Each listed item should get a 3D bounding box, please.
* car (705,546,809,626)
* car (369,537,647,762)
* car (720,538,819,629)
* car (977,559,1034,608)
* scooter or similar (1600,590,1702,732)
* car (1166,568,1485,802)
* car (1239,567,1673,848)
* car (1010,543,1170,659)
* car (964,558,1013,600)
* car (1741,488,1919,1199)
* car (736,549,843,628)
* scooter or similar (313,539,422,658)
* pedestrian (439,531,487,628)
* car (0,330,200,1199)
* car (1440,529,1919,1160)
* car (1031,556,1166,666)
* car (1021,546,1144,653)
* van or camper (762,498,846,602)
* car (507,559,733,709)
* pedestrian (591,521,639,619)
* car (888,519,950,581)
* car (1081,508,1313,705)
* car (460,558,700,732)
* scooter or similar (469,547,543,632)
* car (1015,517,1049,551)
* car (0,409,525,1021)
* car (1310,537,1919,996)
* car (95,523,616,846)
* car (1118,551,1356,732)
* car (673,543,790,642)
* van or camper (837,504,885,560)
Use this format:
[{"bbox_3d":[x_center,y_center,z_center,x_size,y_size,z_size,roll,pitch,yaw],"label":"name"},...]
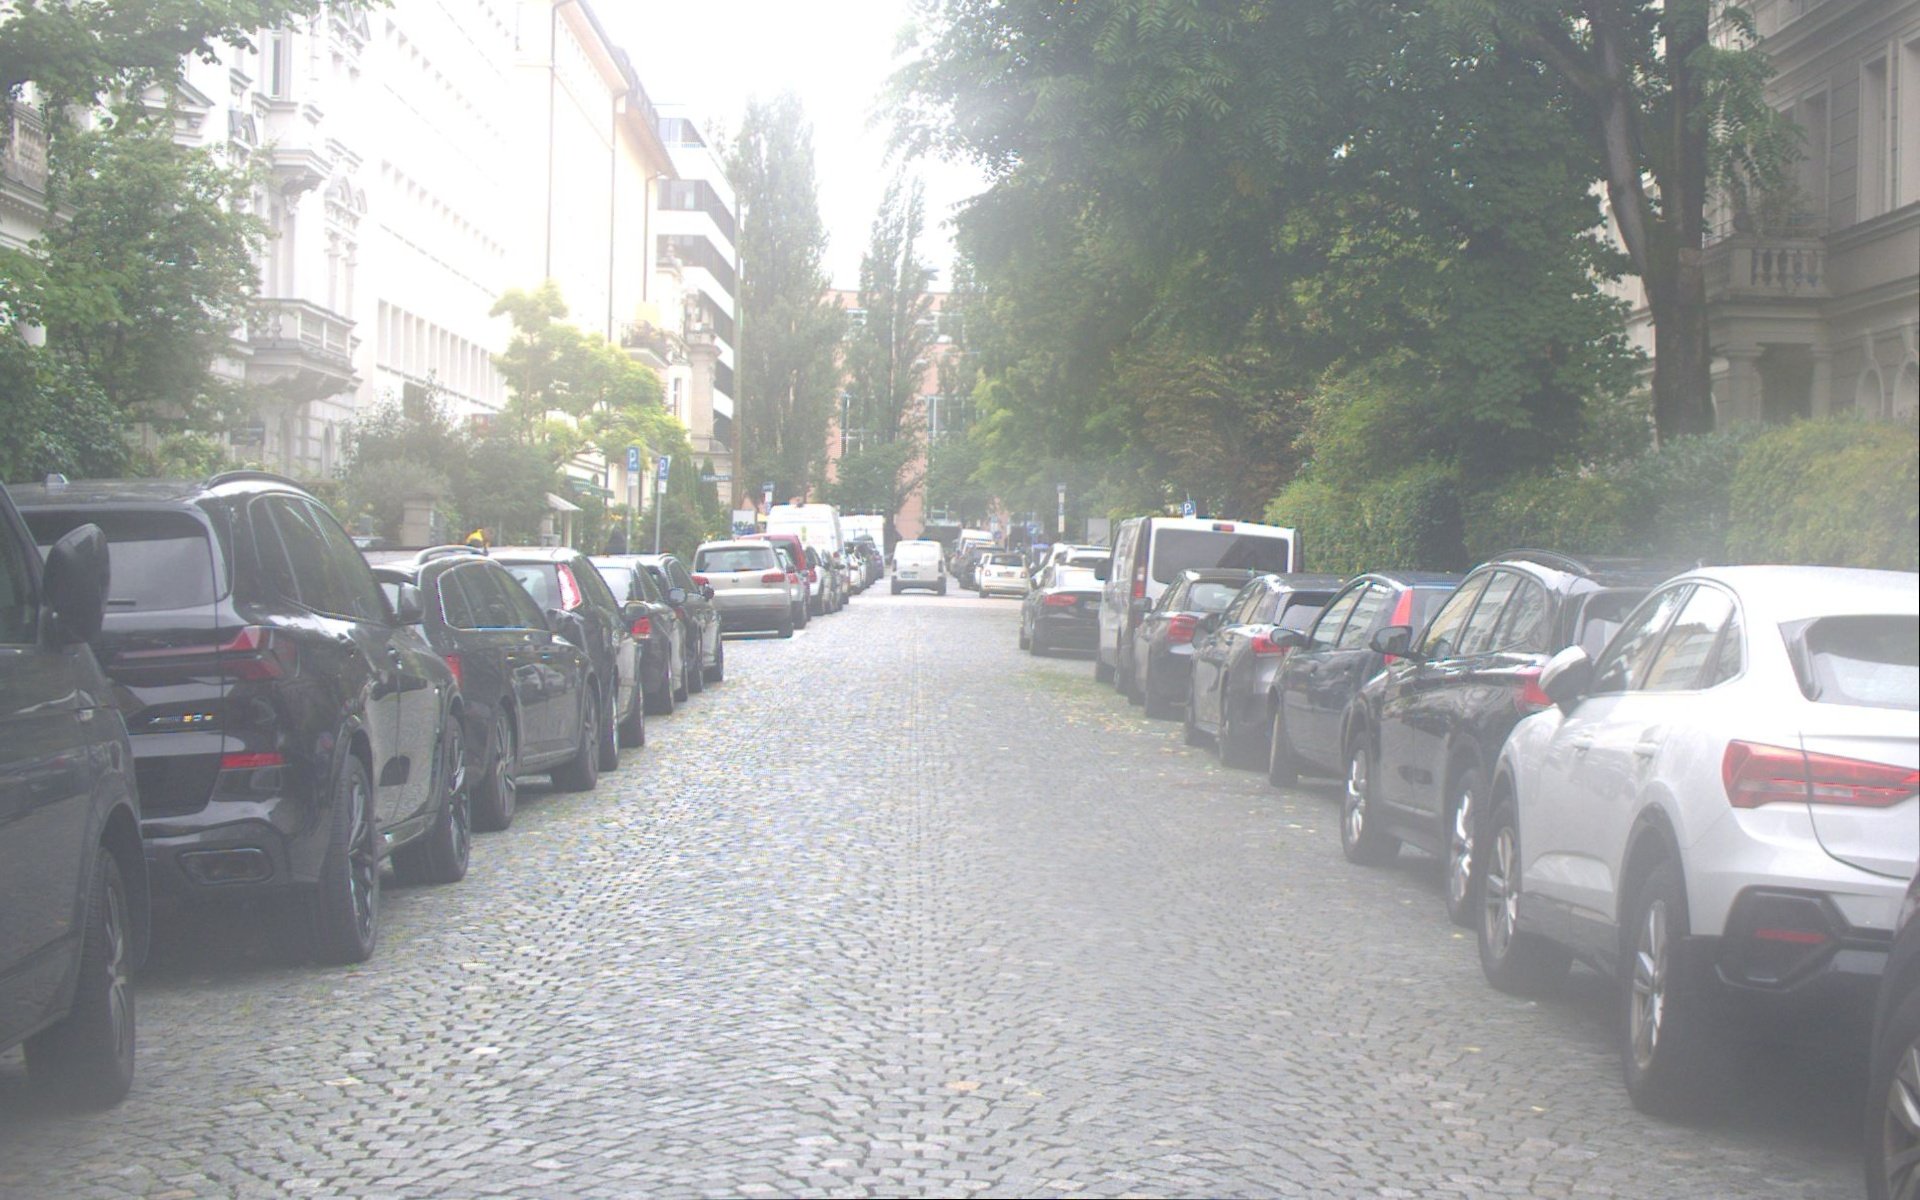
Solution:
[{"bbox_3d":[-3.775,-0.286,64.369,1.873,1.446,4.208,0,1,-3],"label":"car"},{"bbox_3d":[-3.093,0.295,24.184,1.662,1.439,4.172,0,1,-4],"label":"car"},{"bbox_3d":[-3.886,-0.358,70.676,1.873,1.770,4.123,-2,1,-2],"label":"car"},{"bbox_3d":[1.467,-0.545,112.161,1.790,1.515,4.000,2,1,0],"label":"car"},{"bbox_3d":[6.241,0.541,31.092,0.414,1.230,1.246,-2,1,-12],"label":"scooter or similar"},{"bbox_3d":[2.642,0.566,25.754,1.713,1.467,4.269,4,1,-2],"label":"car"},{"bbox_3d":[2.959,0.587,21.367,1.693,1.435,4.062,4,1,-5],"label":"car"},{"bbox_3d":[1.865,-0.023,50.559,1.873,1.498,4.512,4,1,-3],"label":"car"},{"bbox_3d":[1.082,-0.818,132.722,1.790,1.515,4.000,2,1,0],"label":"car"},{"bbox_3d":[2.929,0.733,5.643,1.873,1.729,4.748,5,1,-3],"label":"car"},{"bbox_3d":[-3.745,-0.263,76.084,1.873,1.574,4.207,4,1,3],"label":"car"},{"bbox_3d":[-7.554,-0.038,43.934,0.941,1.437,2.657,3,1,-2],"label":"scooter or similar"},{"bbox_3d":[-8.839,-0.366,61.161,0.717,1.682,0.695,2,0,-1],"label":"pedestrian"},{"bbox_3d":[-3.039,0.372,7.297,1.873,1.910,4.828,-1,1,-1],"label":"car"},{"bbox_3d":[2.738,0.589,10.589,1.873,1.485,4.617,4,1,1],"label":"car"},{"bbox_3d":[2.206,0.149,55.777,1.817,1.574,4.208,5,1,-1],"label":"car"},{"bbox_3d":[2.178,-0.041,62.281,1.873,1.727,4.593,4,1,-1],"label":"car"},{"bbox_3d":[-4.113,-1.326,91.026,1.993,2.643,4.000,-1,1,0],"label":"van or camper"},{"bbox_3d":[-3.499,0.309,36.116,1.887,1.412,4.407,-2,1,0],"label":"car"},{"bbox_3d":[-6.879,-0.609,68.594,0.792,1.911,0.759,3,1,-1],"label":"pedestrian"},{"bbox_3d":[-1.368,-1.703,116.853,1.993,2.007,4.000,2,1,0],"label":"car"},{"bbox_3d":[2.556,0.034,38.330,1.873,1.922,5.165,4,1,-3],"label":"car"},{"bbox_3d":[-3.388,0.349,31.372,1.783,1.412,4.497,-2,1,-2],"label":"car"},{"bbox_3d":[-8.001,-0.199,60.647,0.941,1.437,2.657,2,1,-1],"label":"scooter or similar"},{"bbox_3d":[4.479,-4.097,215.024,1.993,2.007,4.000,2,0,0],"label":"car"},{"bbox_3d":[-3.001,0.345,13.519,1.993,1.910,5.178,-2,1,-1],"label":"car"},{"bbox_3d":[2.852,0.624,15.754,1.873,1.664,4.657,4,1,0],"label":"car"},{"bbox_3d":[-3.178,0.375,19.146,1.978,1.556,5.017,0,1,0],"label":"car"},{"bbox_3d":[2.571,0.347,32.859,1.837,1.485,4.421,4,1,0],"label":"car"},{"bbox_3d":[-3.837,-0.153,58.315,1.873,1.574,4.256,-1,1,-3],"label":"car"},{"bbox_3d":[-5.040,-3.468,175.569,2.256,2.733,5.098,2,1,0],"label":"van or camper"}]
